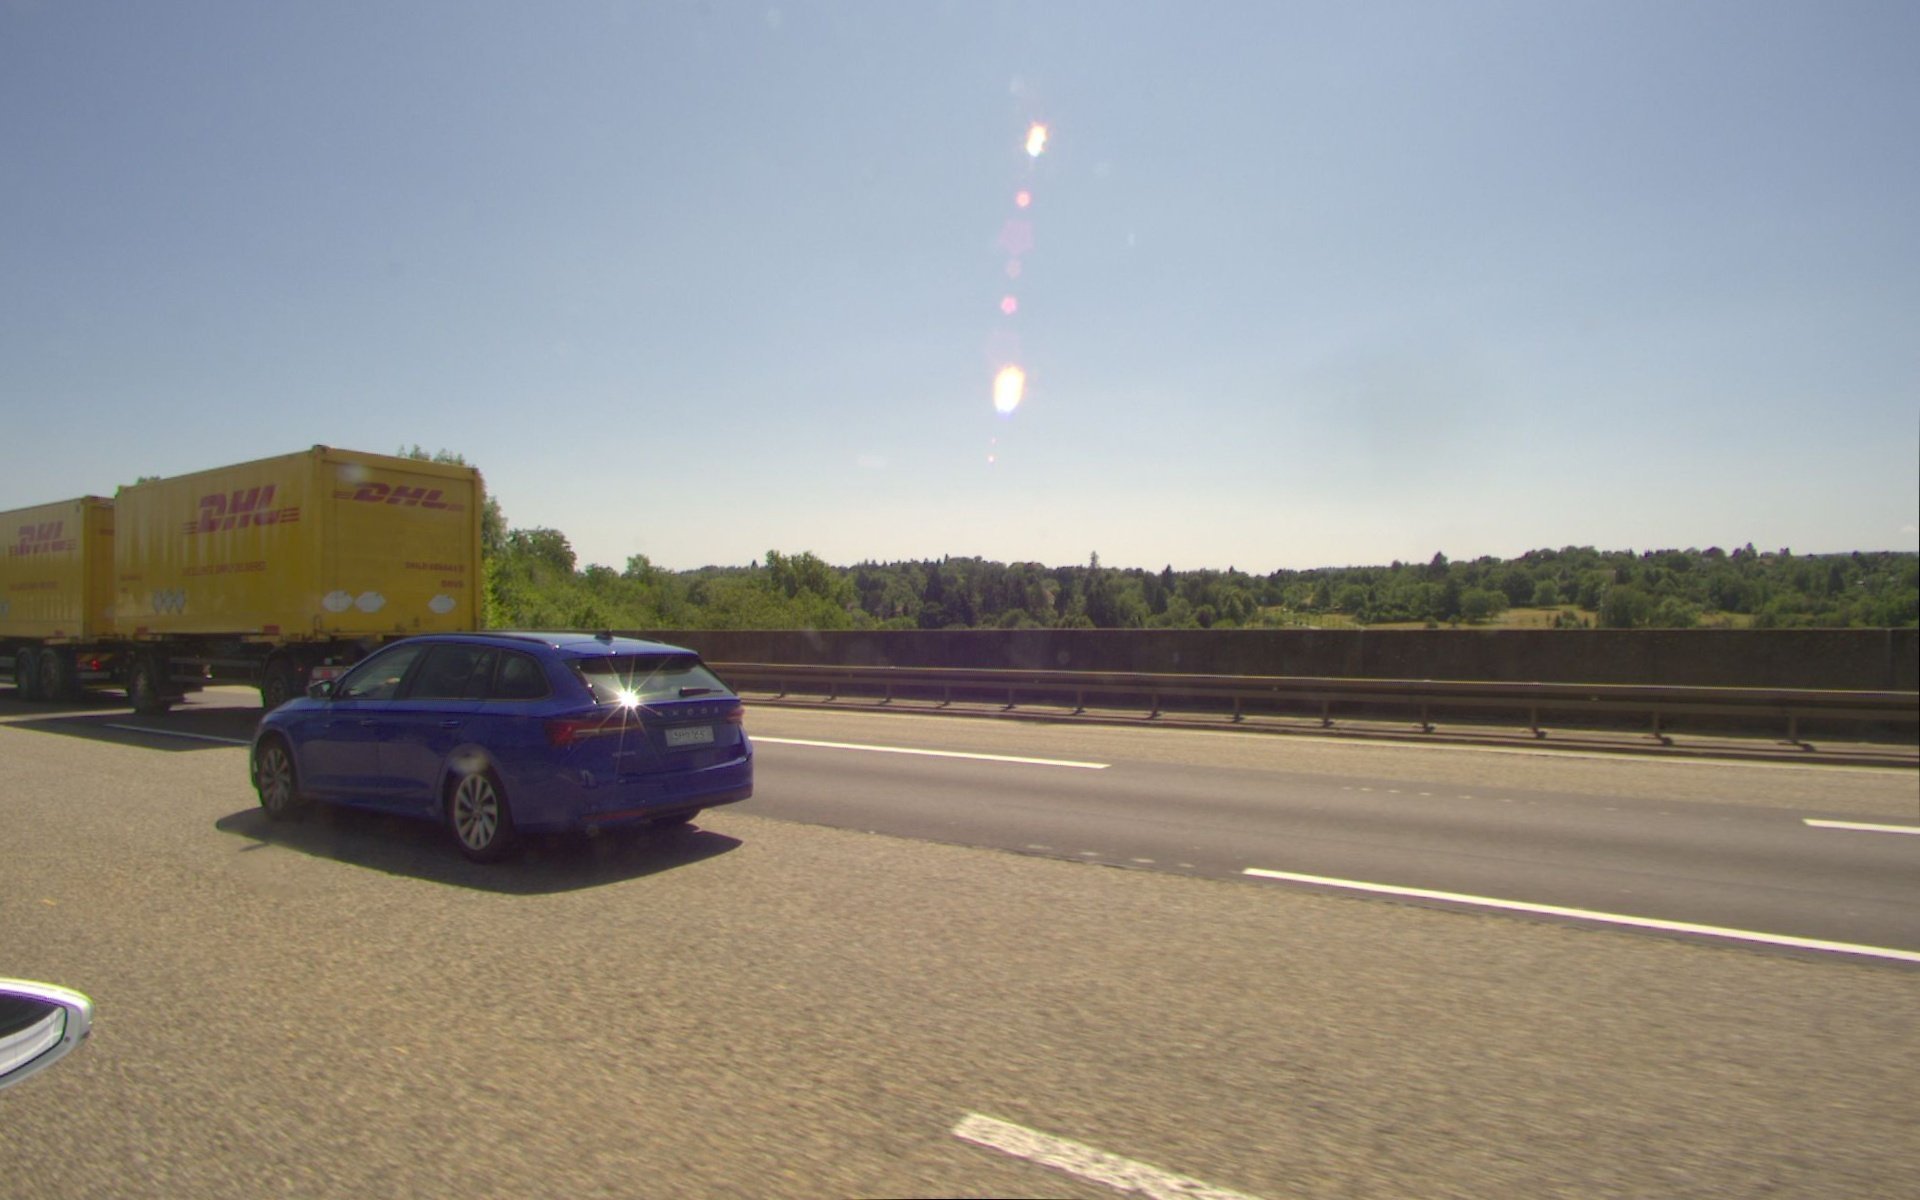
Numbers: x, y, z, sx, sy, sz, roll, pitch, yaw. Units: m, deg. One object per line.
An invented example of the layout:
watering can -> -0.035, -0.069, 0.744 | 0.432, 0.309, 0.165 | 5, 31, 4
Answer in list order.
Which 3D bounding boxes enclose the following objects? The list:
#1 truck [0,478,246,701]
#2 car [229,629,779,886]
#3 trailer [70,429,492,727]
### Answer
truck -> -19.891, -0.065, 22.567 | 9.813, 4.161, 2.760 | -1, -2, 33
car -> -3.590, 0.964, 7.627 | 4.364, 1.459, 1.703 | -1, -2, 32
trailer -> -12.269, -0.190, 17.694 | 9.244, 4.169, 2.760 | -1, -2, 33
